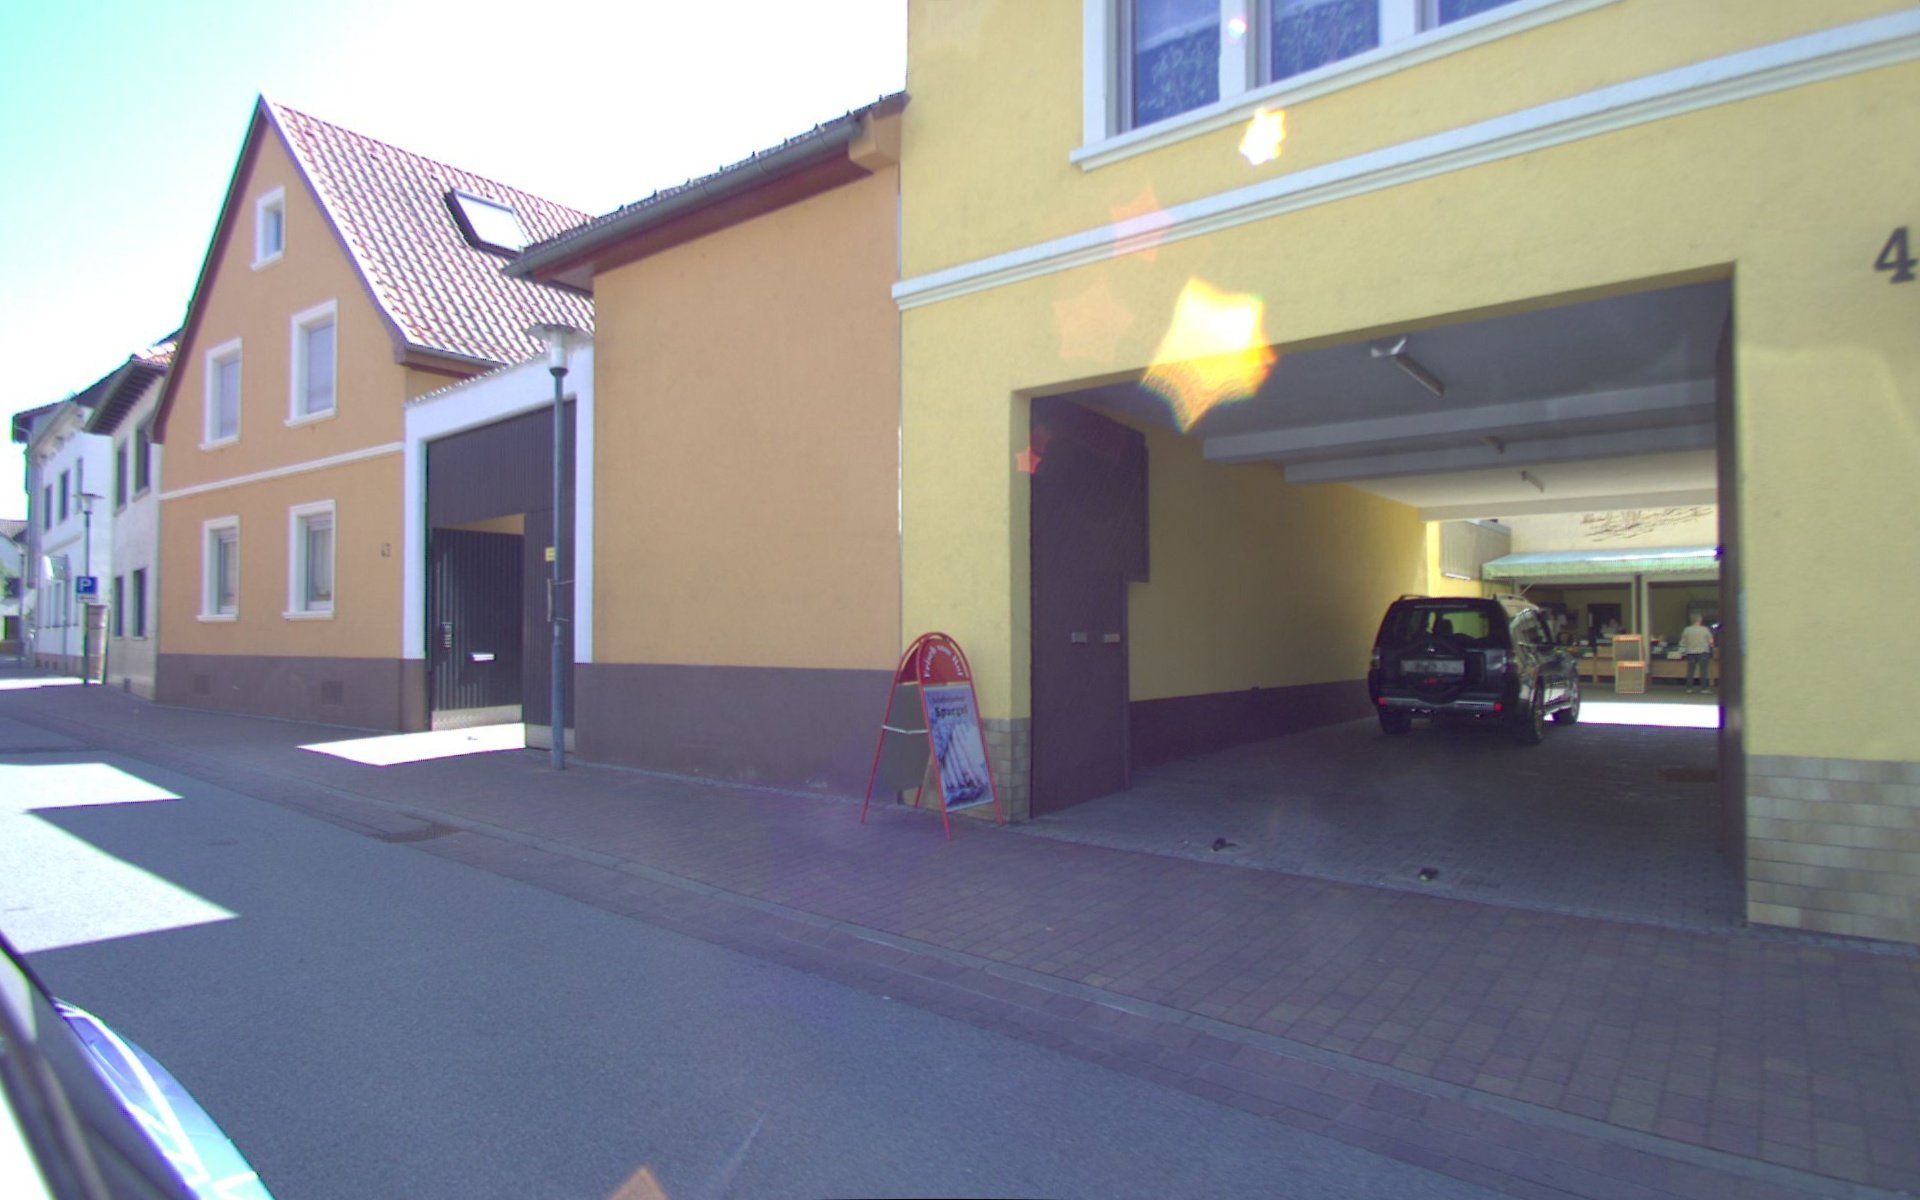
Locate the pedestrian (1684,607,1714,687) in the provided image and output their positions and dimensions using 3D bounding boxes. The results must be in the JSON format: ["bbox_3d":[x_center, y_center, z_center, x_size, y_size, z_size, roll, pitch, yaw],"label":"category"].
[{"bbox_3d":[15.368,0.968,21.054,0.447,1.639,0.437,-2,-3,40],"label":"pedestrian"}]

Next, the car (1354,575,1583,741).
[{"bbox_3d":[6.912,0.695,13.545,1.997,1.863,3.949,-2,-2,38],"label":"car"}]

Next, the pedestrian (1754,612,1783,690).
[{"bbox_3d":[17.221,1.079,21.560,0.447,1.639,0.437,-2,-3,40],"label":"pedestrian"}]

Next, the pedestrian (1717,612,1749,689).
[{"bbox_3d":[16.896,1.096,22.109,0.502,1.639,0.437,-2,-3,40],"label":"pedestrian"}]
